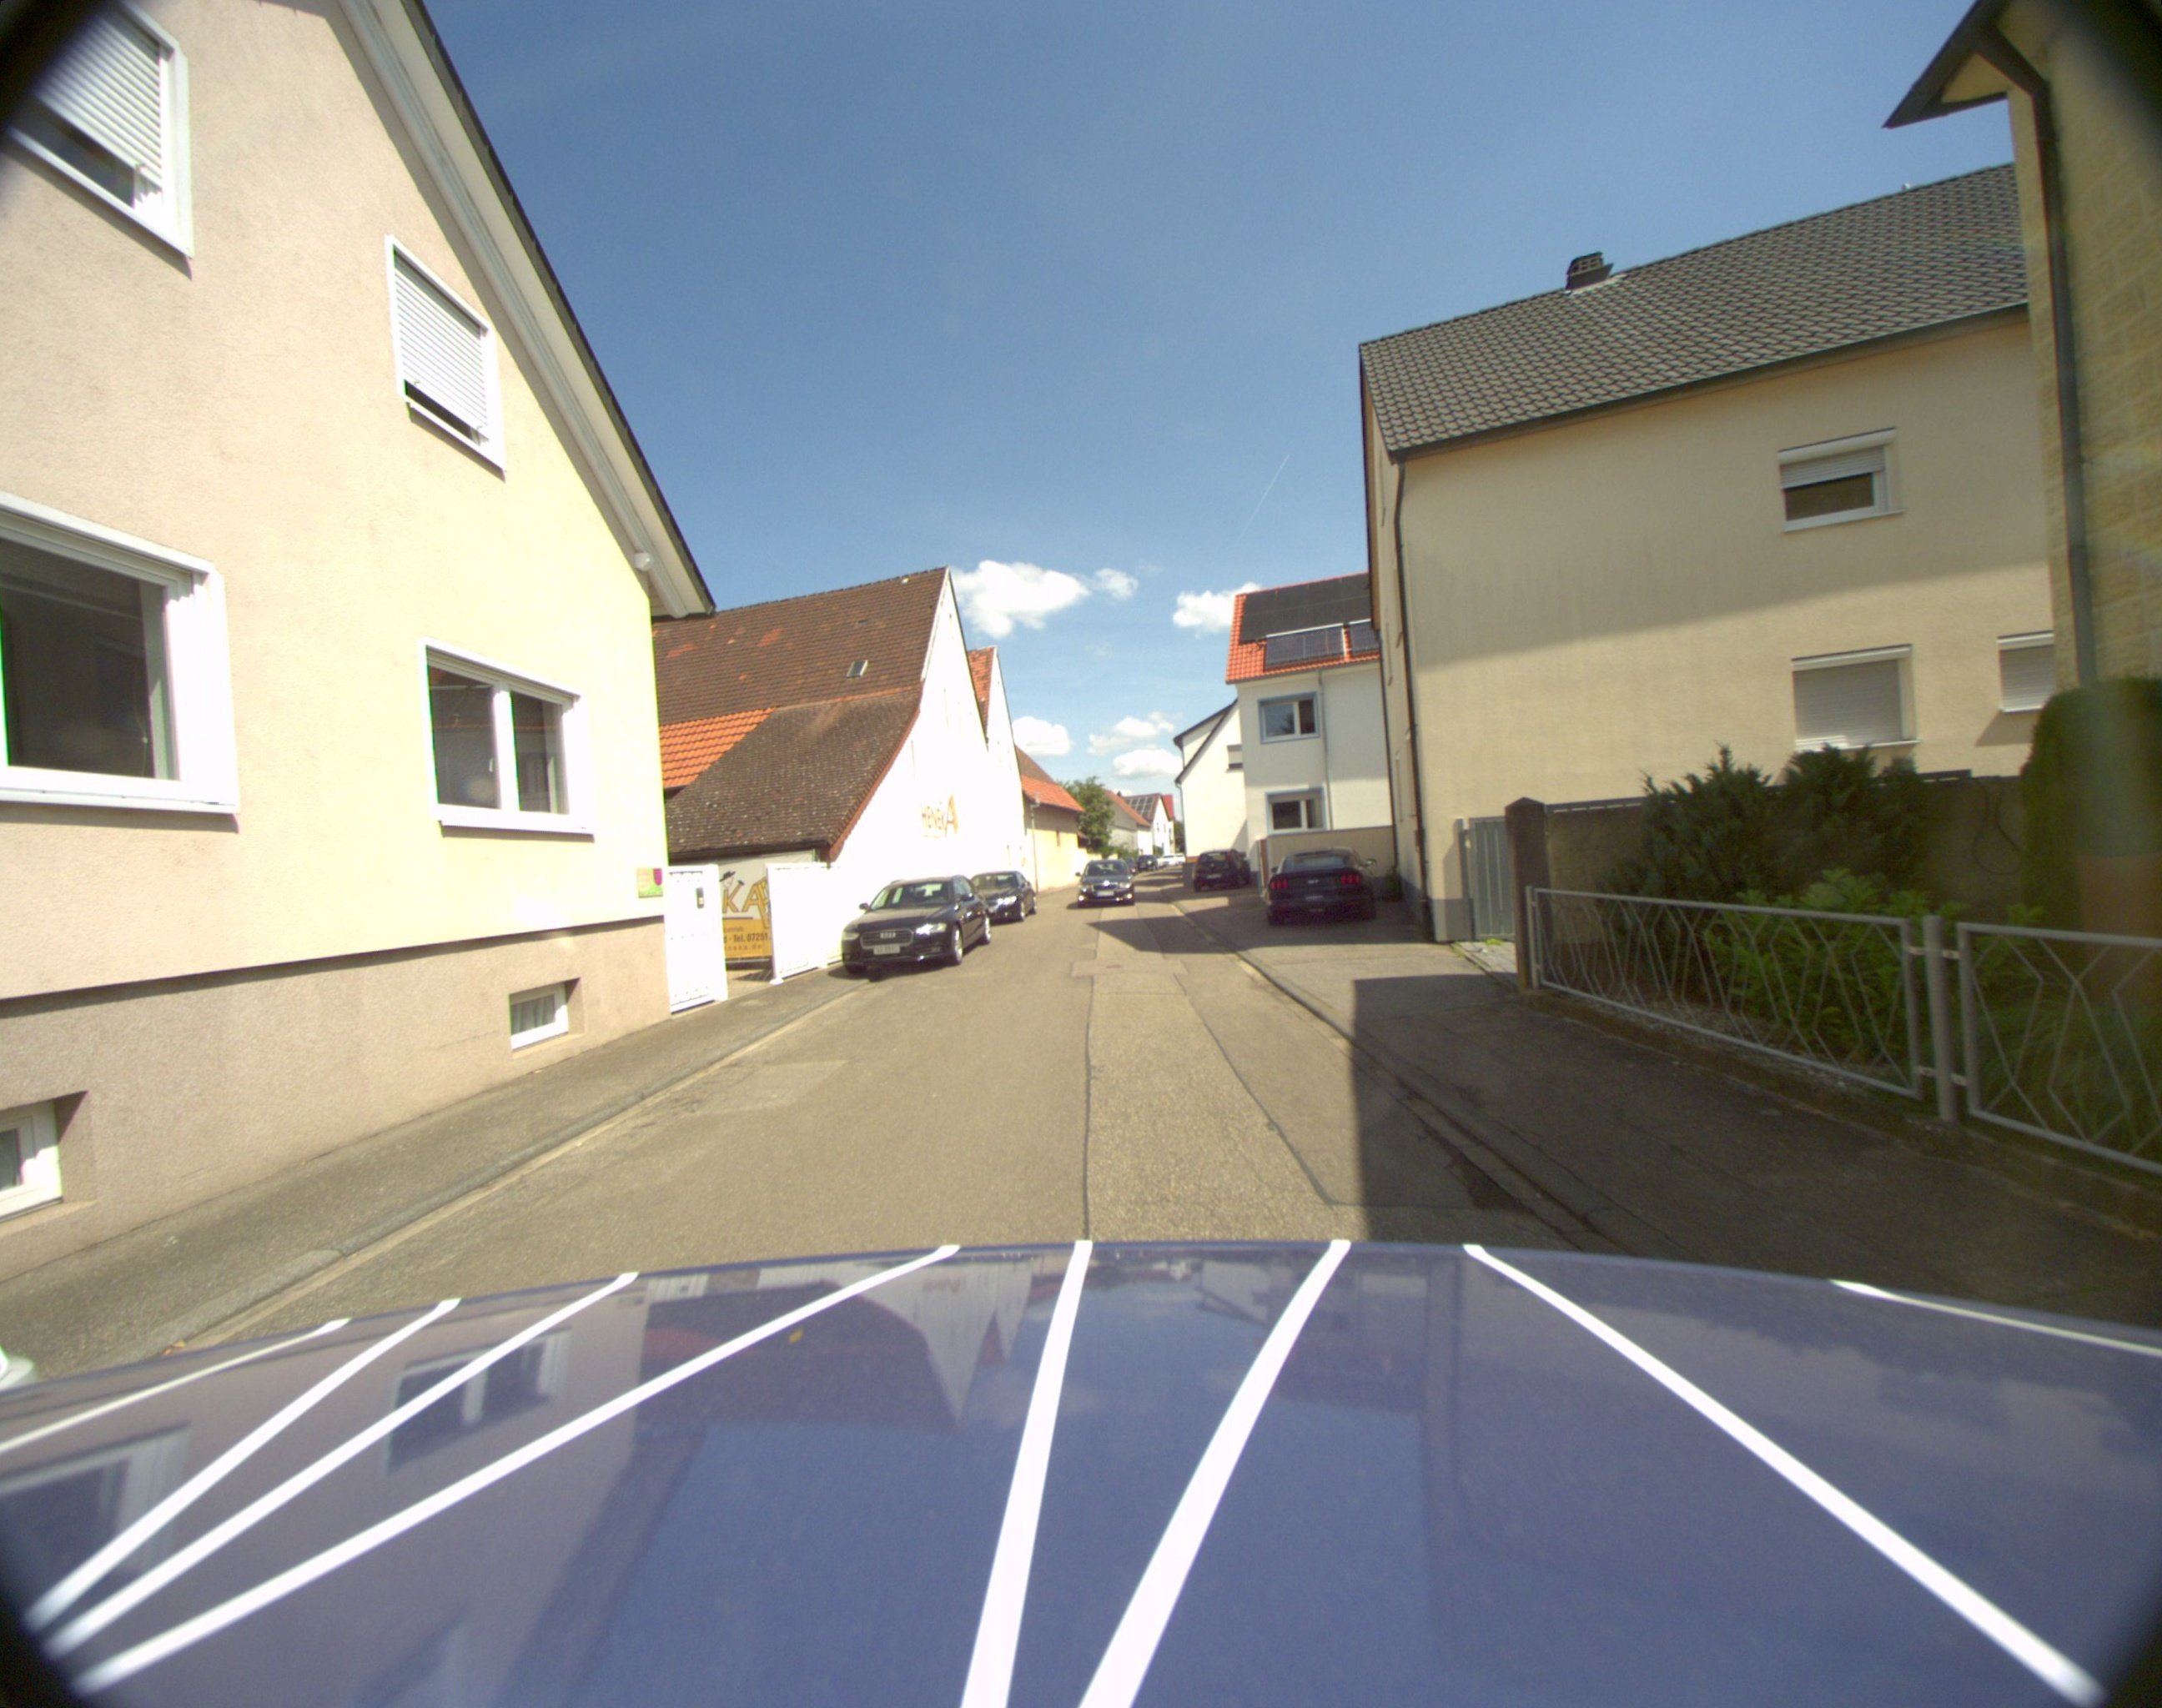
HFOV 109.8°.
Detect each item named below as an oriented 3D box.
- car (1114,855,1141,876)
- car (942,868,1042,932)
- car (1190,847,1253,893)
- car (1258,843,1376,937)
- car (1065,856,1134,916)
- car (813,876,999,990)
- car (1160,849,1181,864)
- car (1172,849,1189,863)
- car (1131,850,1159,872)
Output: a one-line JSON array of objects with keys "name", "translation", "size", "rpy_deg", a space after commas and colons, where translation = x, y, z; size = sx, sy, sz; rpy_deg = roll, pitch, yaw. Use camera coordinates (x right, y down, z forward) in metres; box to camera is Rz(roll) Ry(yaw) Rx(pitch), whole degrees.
[{"name": "car", "translation": [3.623, 0.855, 58.987], "size": [1.784, 1.470, 4.002], "rpy_deg": [-4, 0, 6]}, {"name": "car", "translation": [-2.368, 1.222, 21.497], "size": [1.900, 1.357, 4.415], "rpy_deg": [-5, 0, 4]}, {"name": "car", "translation": [5.382, 0.555, 28.744], "size": [1.640, 1.446, 3.791], "rpy_deg": [-6, -1, 20]}, {"name": "car", "translation": [4.796, 0.602, 14.989], "size": [1.772, 1.341, 4.475], "rpy_deg": [-6, 0, 22]}, {"name": "car", "translation": [0.681, 0.931, 24.308], "size": [1.784, 1.527, 4.711], "rpy_deg": [-4, 0, 5]}, {"name": "car", "translation": [-2.807, 1.230, 13.460], "size": [1.900, 1.357, 4.738], "rpy_deg": [-5, 0, 3]}, {"name": "car", "translation": [10.450, 0.272, 88.126], "size": [1.783, 1.491, 4.042], "rpy_deg": [-7, 0, 13]}, {"name": "car", "translation": [13.171, 0.245, 100.446], "size": [1.783, 1.491, 4.042], "rpy_deg": [-7, 0, 13]}, {"name": "car", "translation": [5.766, 0.618, 68.188], "size": [1.783, 1.600, 4.003], "rpy_deg": [-7, 0, 13]}]
